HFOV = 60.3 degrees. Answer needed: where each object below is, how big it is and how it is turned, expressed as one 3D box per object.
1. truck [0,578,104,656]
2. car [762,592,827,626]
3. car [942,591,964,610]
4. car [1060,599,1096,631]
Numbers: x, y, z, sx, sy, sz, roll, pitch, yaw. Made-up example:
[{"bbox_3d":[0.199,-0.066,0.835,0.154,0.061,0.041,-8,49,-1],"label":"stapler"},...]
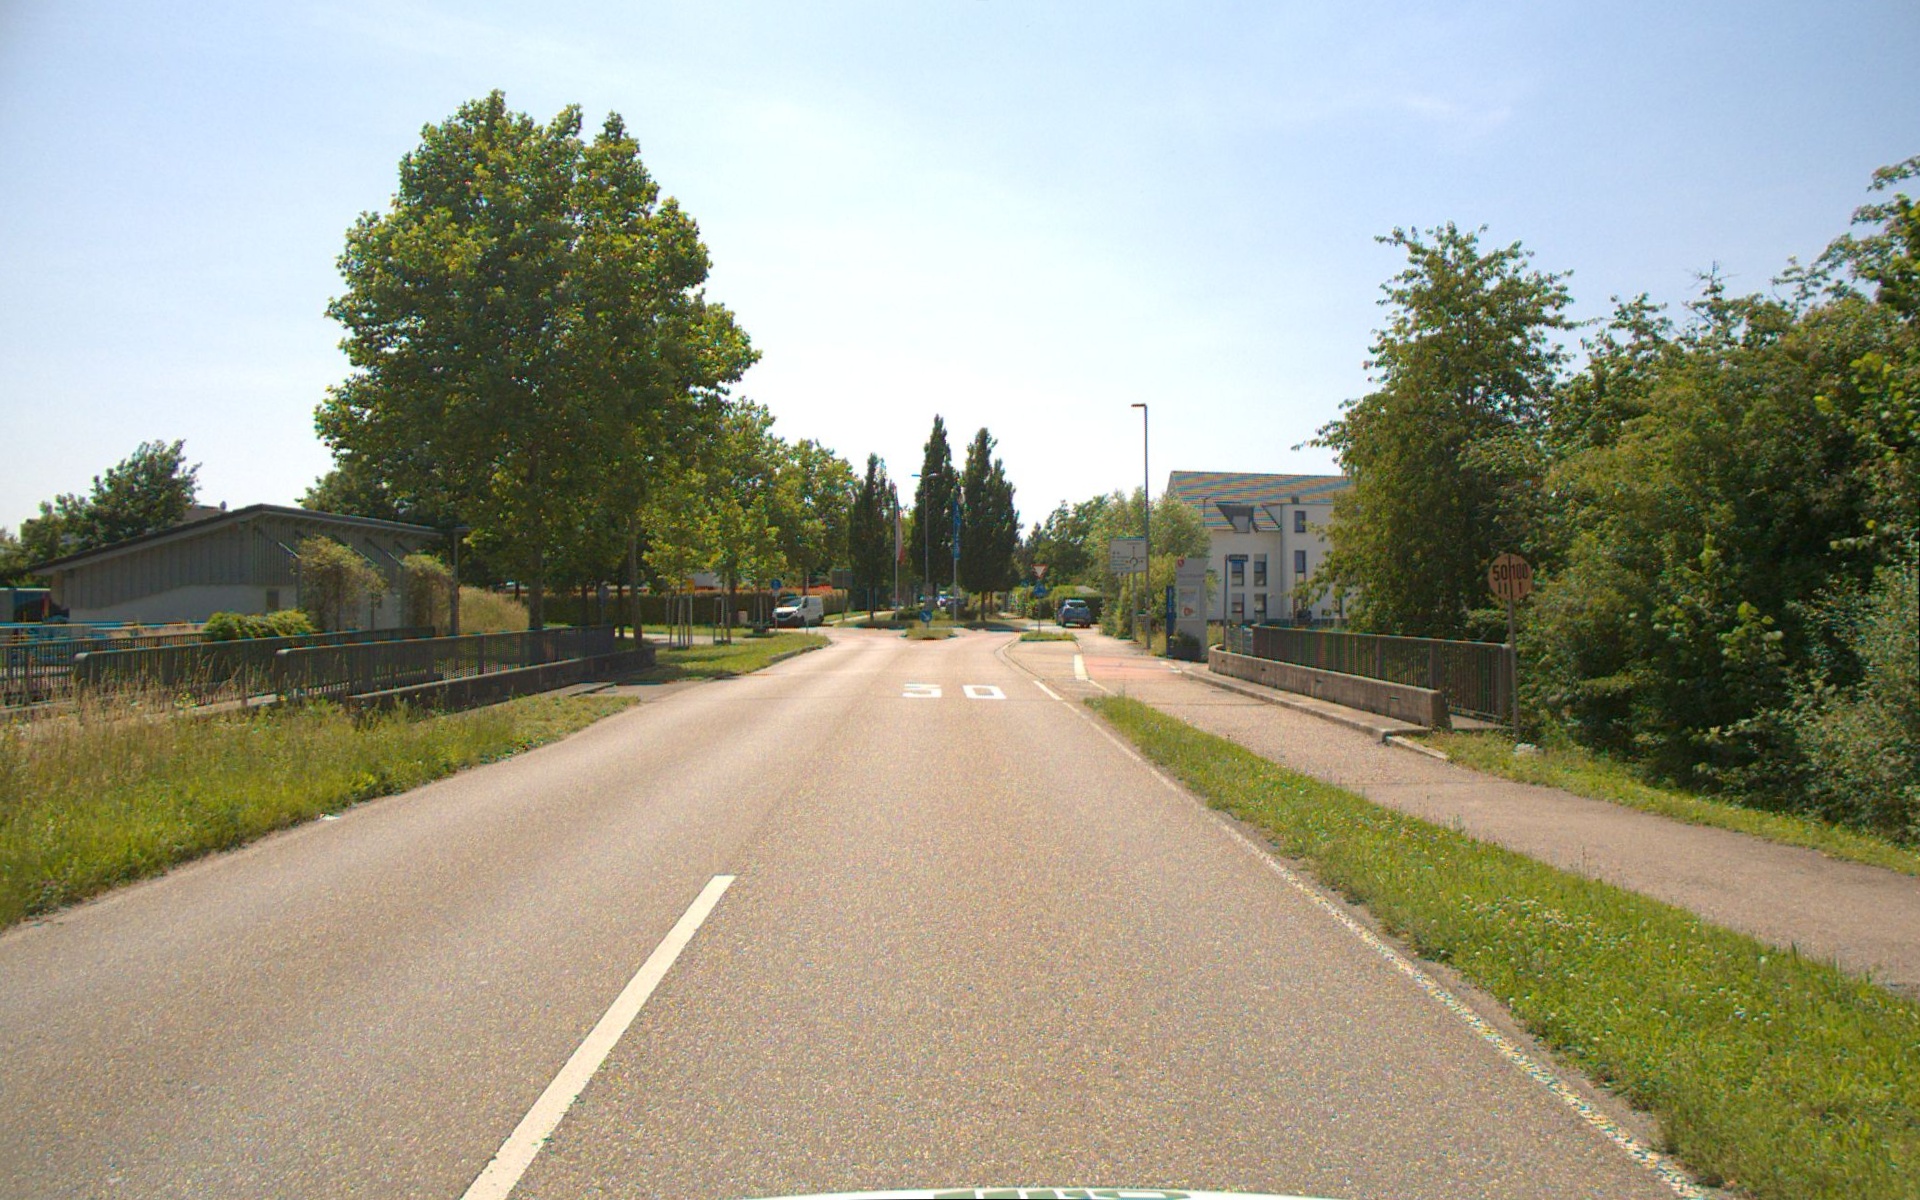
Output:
[{"bbox_3d":[-28.771,0.485,50.205,2.926,2.255,5.170,0,0,-1],"label":"truck"},{"bbox_3d":[-10.384,0.589,104.127,2.083,2.049,5.150,1,-1,19],"label":"car"},{"bbox_3d":[-0.624,0.029,156.586,1.952,1.801,4.001,-1,0,2],"label":"car"},{"bbox_3d":[7.377,0.945,103.407,1.884,1.919,3.999,1,0,-1],"label":"car"}]
